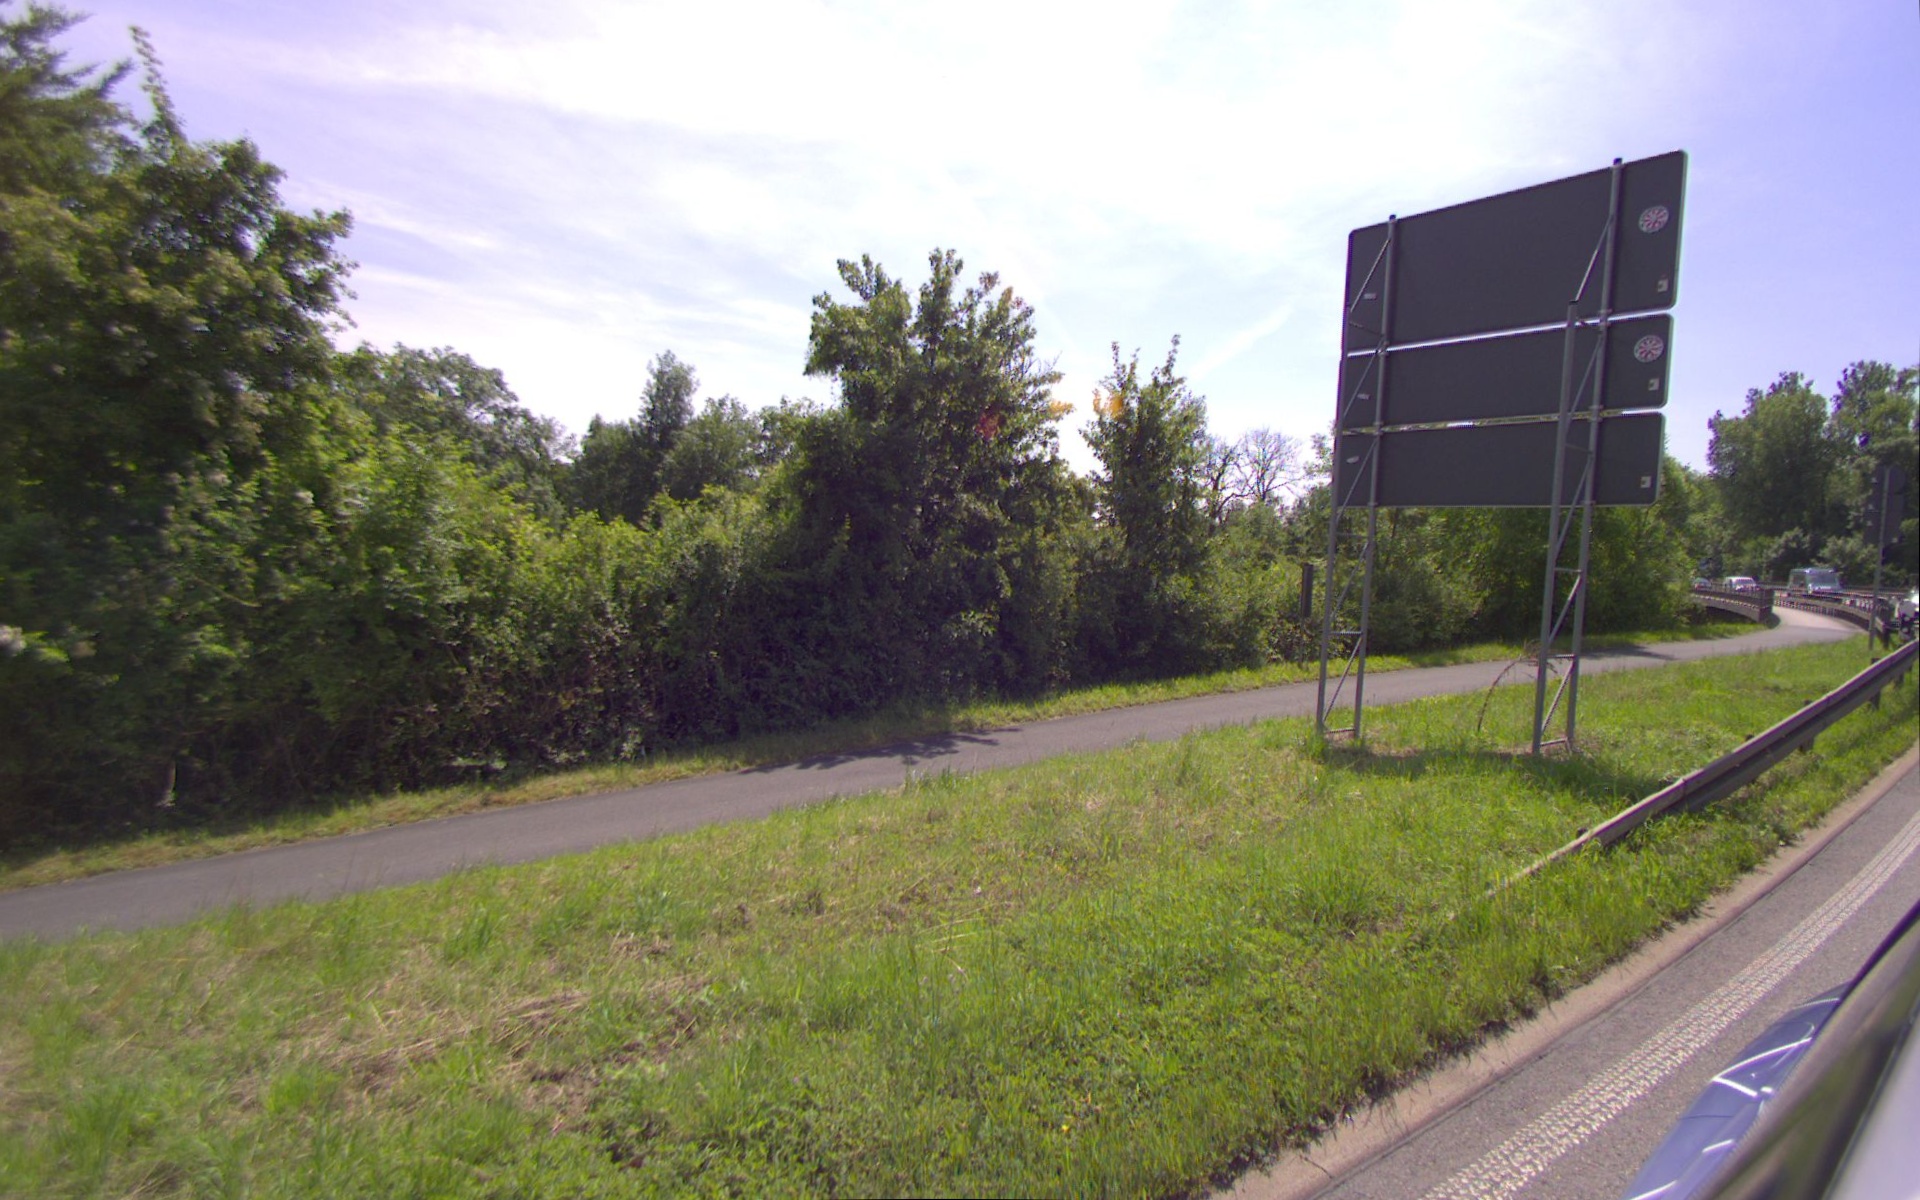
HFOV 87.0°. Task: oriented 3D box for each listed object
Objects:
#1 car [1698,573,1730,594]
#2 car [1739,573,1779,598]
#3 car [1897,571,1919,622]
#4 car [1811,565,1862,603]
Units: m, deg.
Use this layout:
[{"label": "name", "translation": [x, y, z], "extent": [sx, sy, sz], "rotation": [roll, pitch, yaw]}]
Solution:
[{"label": "car", "translation": [77.750, -1.684, 104.395], "extent": [1.981, 2.038, 3.962], "rotation": [0, 2, 28]}, {"label": "car", "translation": [70.331, -1.314, 89.133], "extent": [1.981, 2.038, 4.668], "rotation": [0, 2, 28]}, {"label": "car", "translation": [41.401, -0.173, 42.924], "extent": [1.988, 2.038, 3.949], "rotation": [0, 2, 36]}, {"label": "car", "translation": [60.665, -1.129, 70.120], "extent": [1.985, 2.515, 4.804], "rotation": [0, 2, 33]}]
